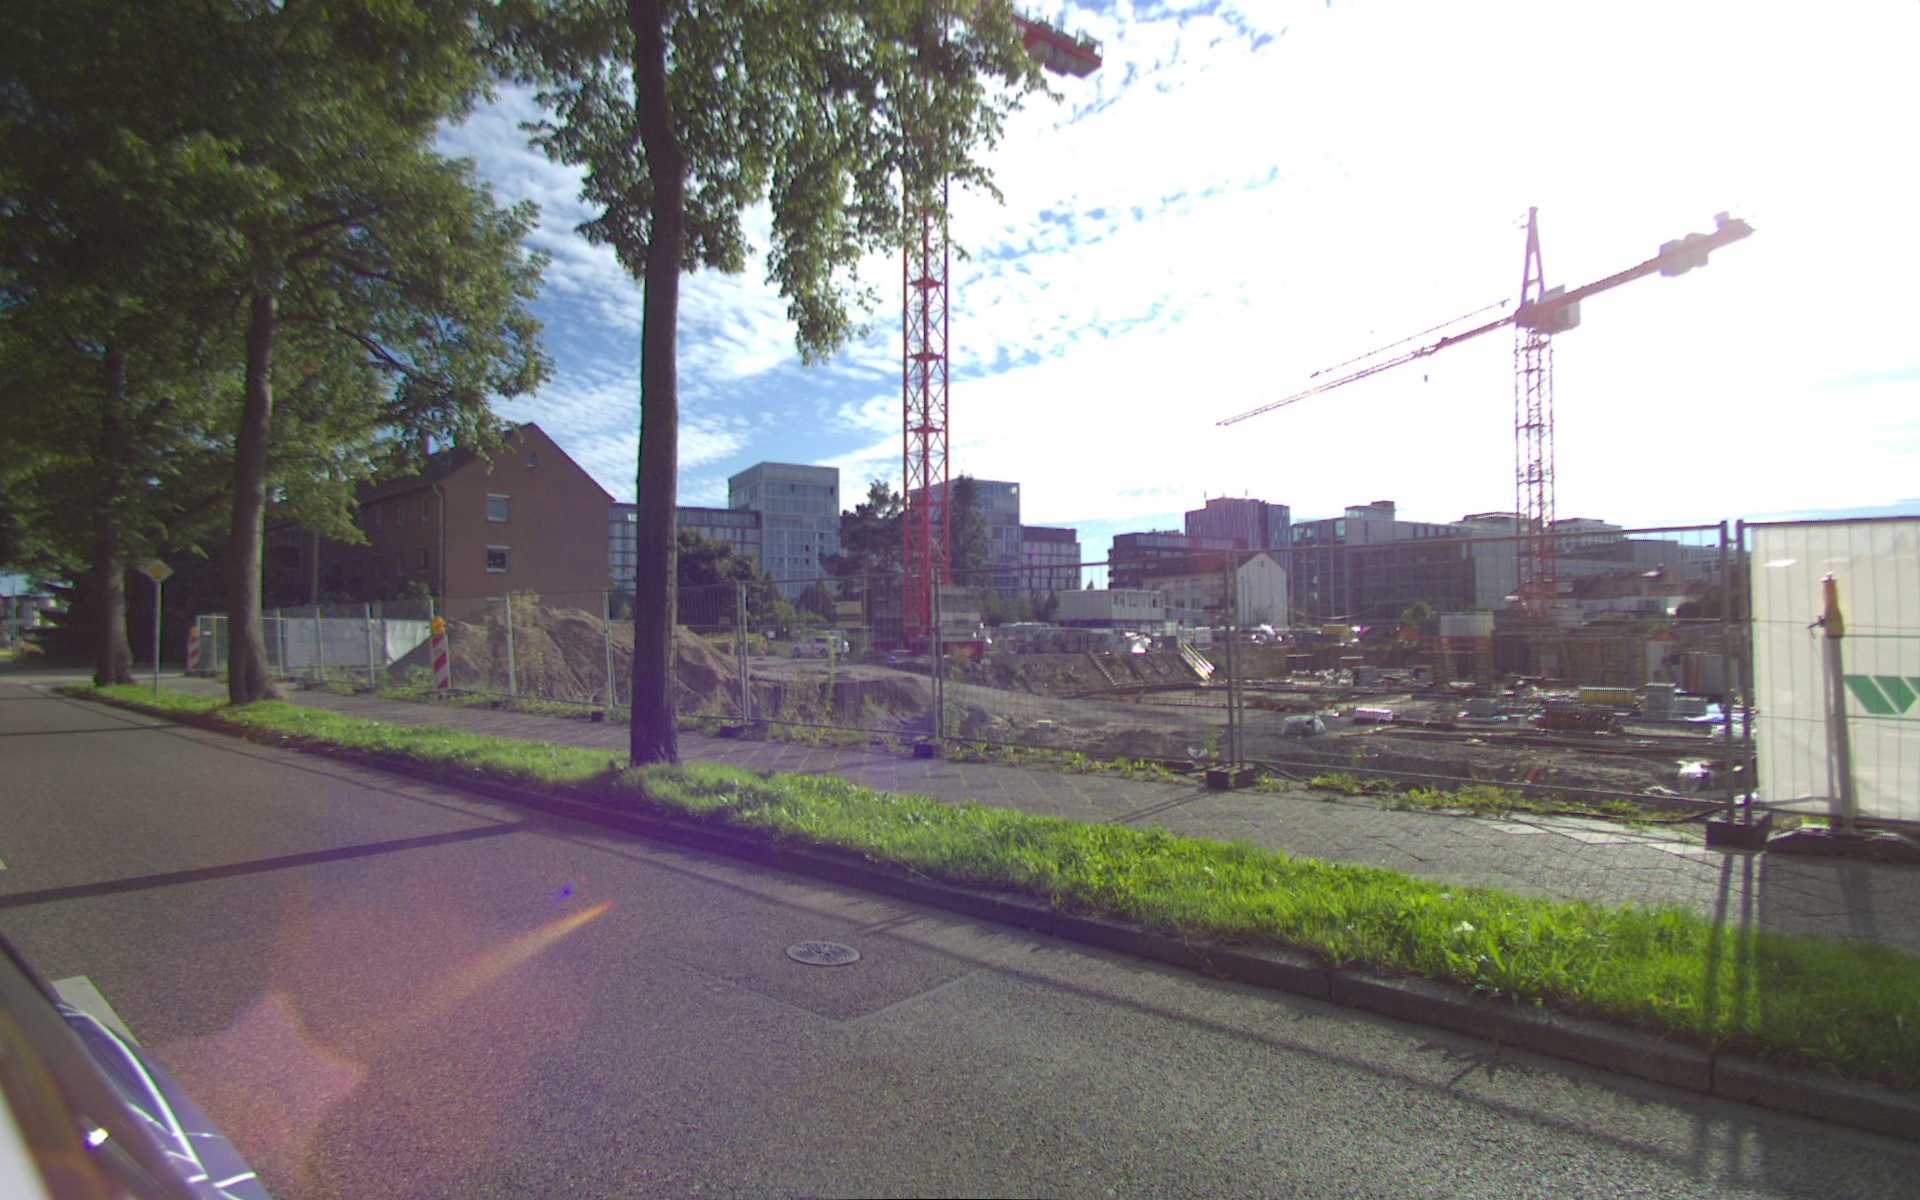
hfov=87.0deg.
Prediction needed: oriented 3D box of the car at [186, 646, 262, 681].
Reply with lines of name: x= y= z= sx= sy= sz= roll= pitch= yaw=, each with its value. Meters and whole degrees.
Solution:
car: x=-33.752 y=2.866 z=46.365 sx=4.508 sy=1.439 sz=1.971 roll=-1 pitch=-3 yaw=44

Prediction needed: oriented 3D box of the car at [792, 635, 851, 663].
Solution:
car: x=-9.682 y=3.403 z=70.683 sx=3.977 sy=1.821 sz=1.796 roll=0 pitch=-1 yaw=36

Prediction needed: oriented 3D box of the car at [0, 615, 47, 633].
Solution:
car: x=-105.539 y=2.691 z=112.350 sx=6.161 sy=1.881 sz=2.479 roll=-1 pitch=-1 yaw=-2
